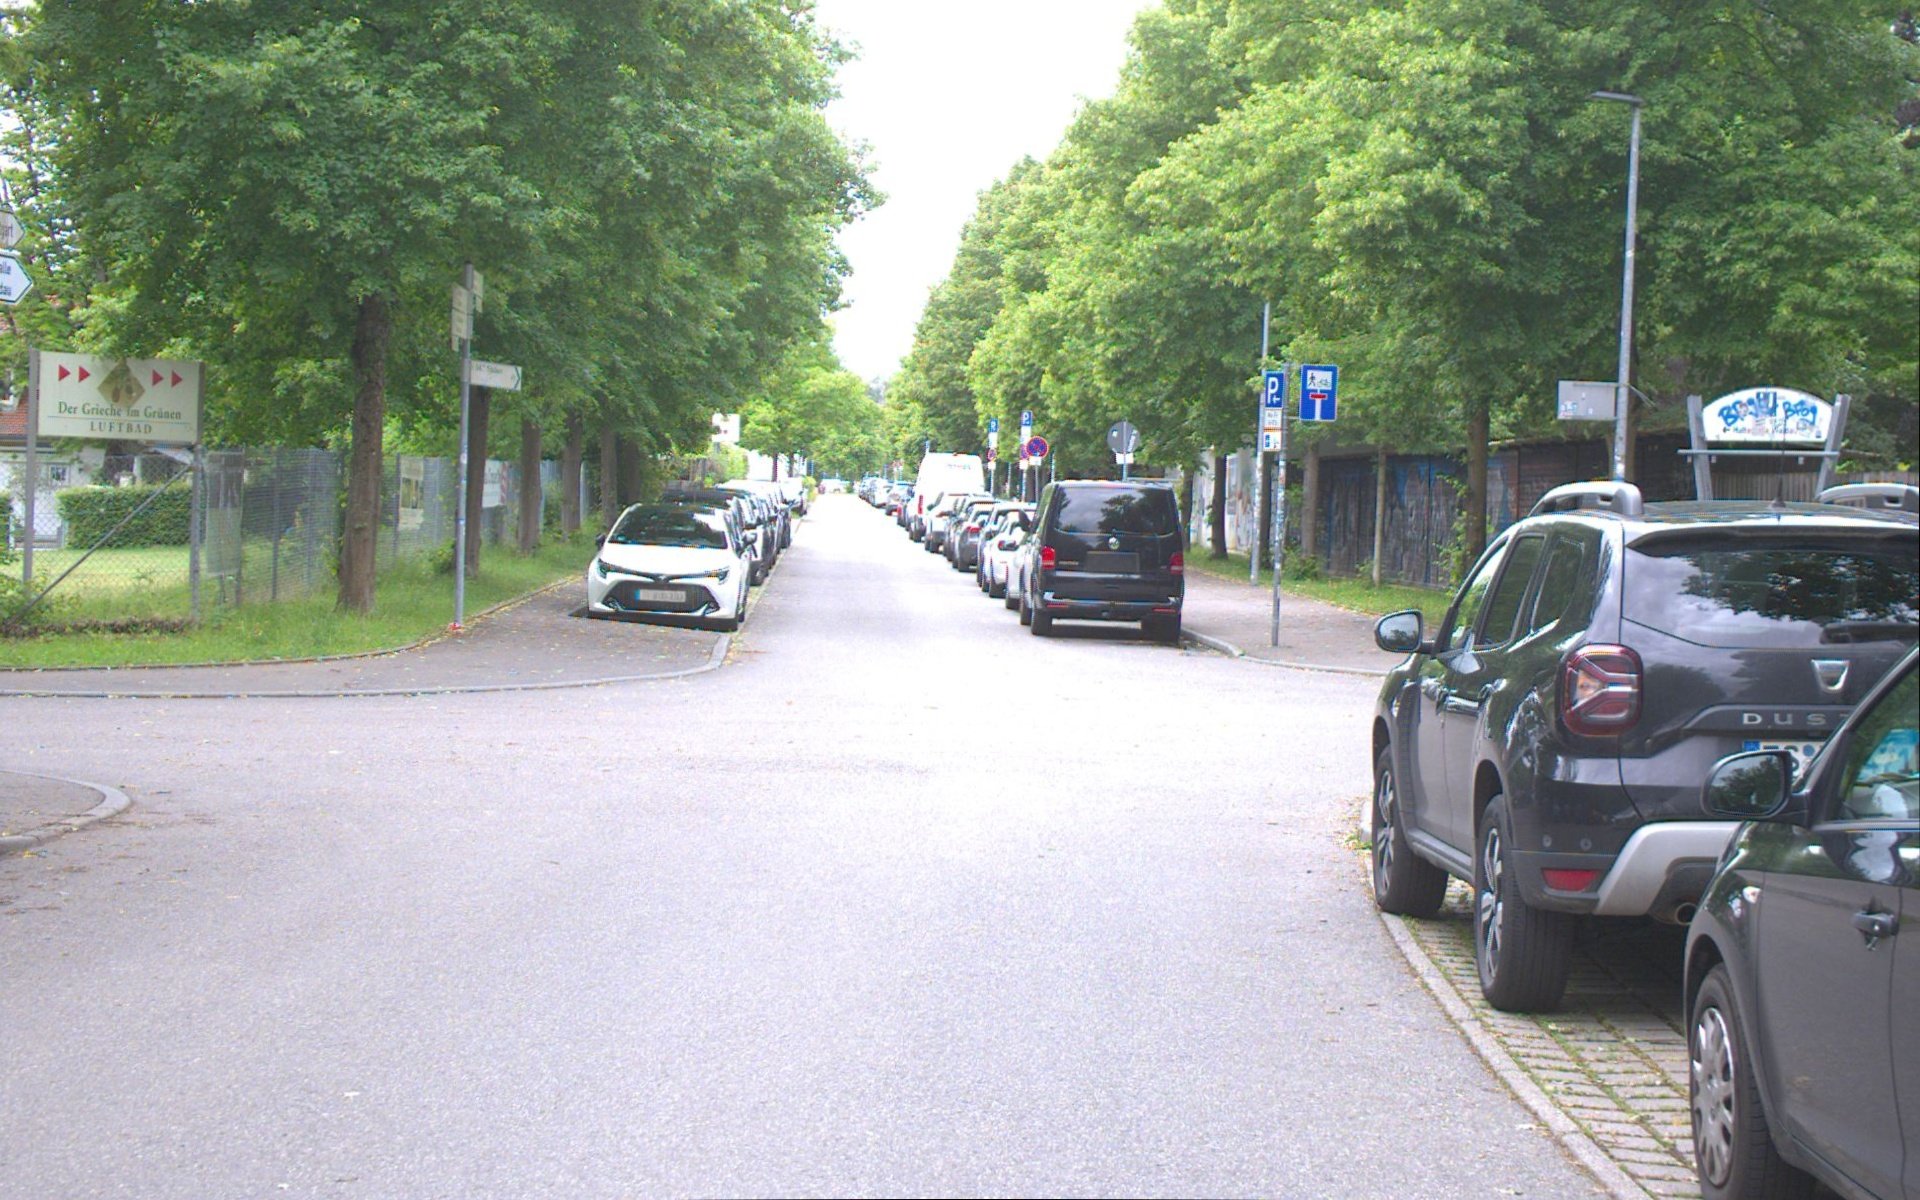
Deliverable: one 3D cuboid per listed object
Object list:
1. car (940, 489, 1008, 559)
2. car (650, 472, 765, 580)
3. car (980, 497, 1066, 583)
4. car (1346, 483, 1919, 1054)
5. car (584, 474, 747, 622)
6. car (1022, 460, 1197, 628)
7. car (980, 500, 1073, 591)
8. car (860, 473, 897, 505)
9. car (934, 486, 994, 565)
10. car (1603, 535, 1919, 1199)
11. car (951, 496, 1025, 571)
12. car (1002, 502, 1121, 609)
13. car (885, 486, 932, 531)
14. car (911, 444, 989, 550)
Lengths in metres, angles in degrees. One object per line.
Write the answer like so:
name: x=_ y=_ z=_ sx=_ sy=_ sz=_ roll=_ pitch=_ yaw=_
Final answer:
car: x=0.309 y=-1.744 z=77.947 sx=1.469 sy=1.526 sz=3.189 roll=1 pitch=2 yaw=-1
car: x=-4.058 y=-1.212 z=55.474 sx=1.691 sy=1.590 sz=4.000 roll=3 pitch=1 yaw=-4
car: x=1.136 y=-1.122 z=63.297 sx=1.469 sy=1.526 sz=3.189 roll=1 pitch=2 yaw=-1
car: x=2.498 y=0.443 z=12.115 sx=1.736 sy=1.628 sz=4.376 roll=1 pitch=1 yaw=0
car: x=-3.519 y=-0.659 z=41.408 sx=1.764 sy=1.590 sz=4.217 roll=3 pitch=1 yaw=-4
car: x=1.858 y=-0.746 z=44.002 sx=1.988 sy=2.006 sz=4.108 roll=1 pitch=2 yaw=-1
car: x=1.102 y=-0.945 z=58.163 sx=1.469 sy=1.476 sz=3.189 roll=1 pitch=2 yaw=-1
car: x=-4.624 y=-6.309 z=195.339 sx=1.898 sy=1.700 sz=4.064 roll=1 pitch=1 yaw=2
car: x=0.090 y=-1.913 z=87.982 sx=1.469 sy=1.961 sz=3.189 roll=1 pitch=2 yaw=-1
car: x=2.484 y=0.647 z=6.411 sx=1.736 sy=1.489 sz=4.234 roll=1 pitch=1 yaw=0
car: x=0.567 y=-1.416 z=72.226 sx=1.469 sy=1.526 sz=3.189 roll=1 pitch=2 yaw=-1
car: x=1.466 y=-0.683 z=50.620 sx=1.597 sy=1.476 sz=3.521 roll=1 pitch=2 yaw=-1
car: x=-2.423 y=-4.281 z=161.632 sx=1.993 sy=2.007 sz=4.000 roll=1 pitch=1 yaw=2
car: x=-0.303 y=-3.051 z=101.528 sx=2.184 sy=3.005 sz=4.897 roll=1 pitch=2 yaw=-1
